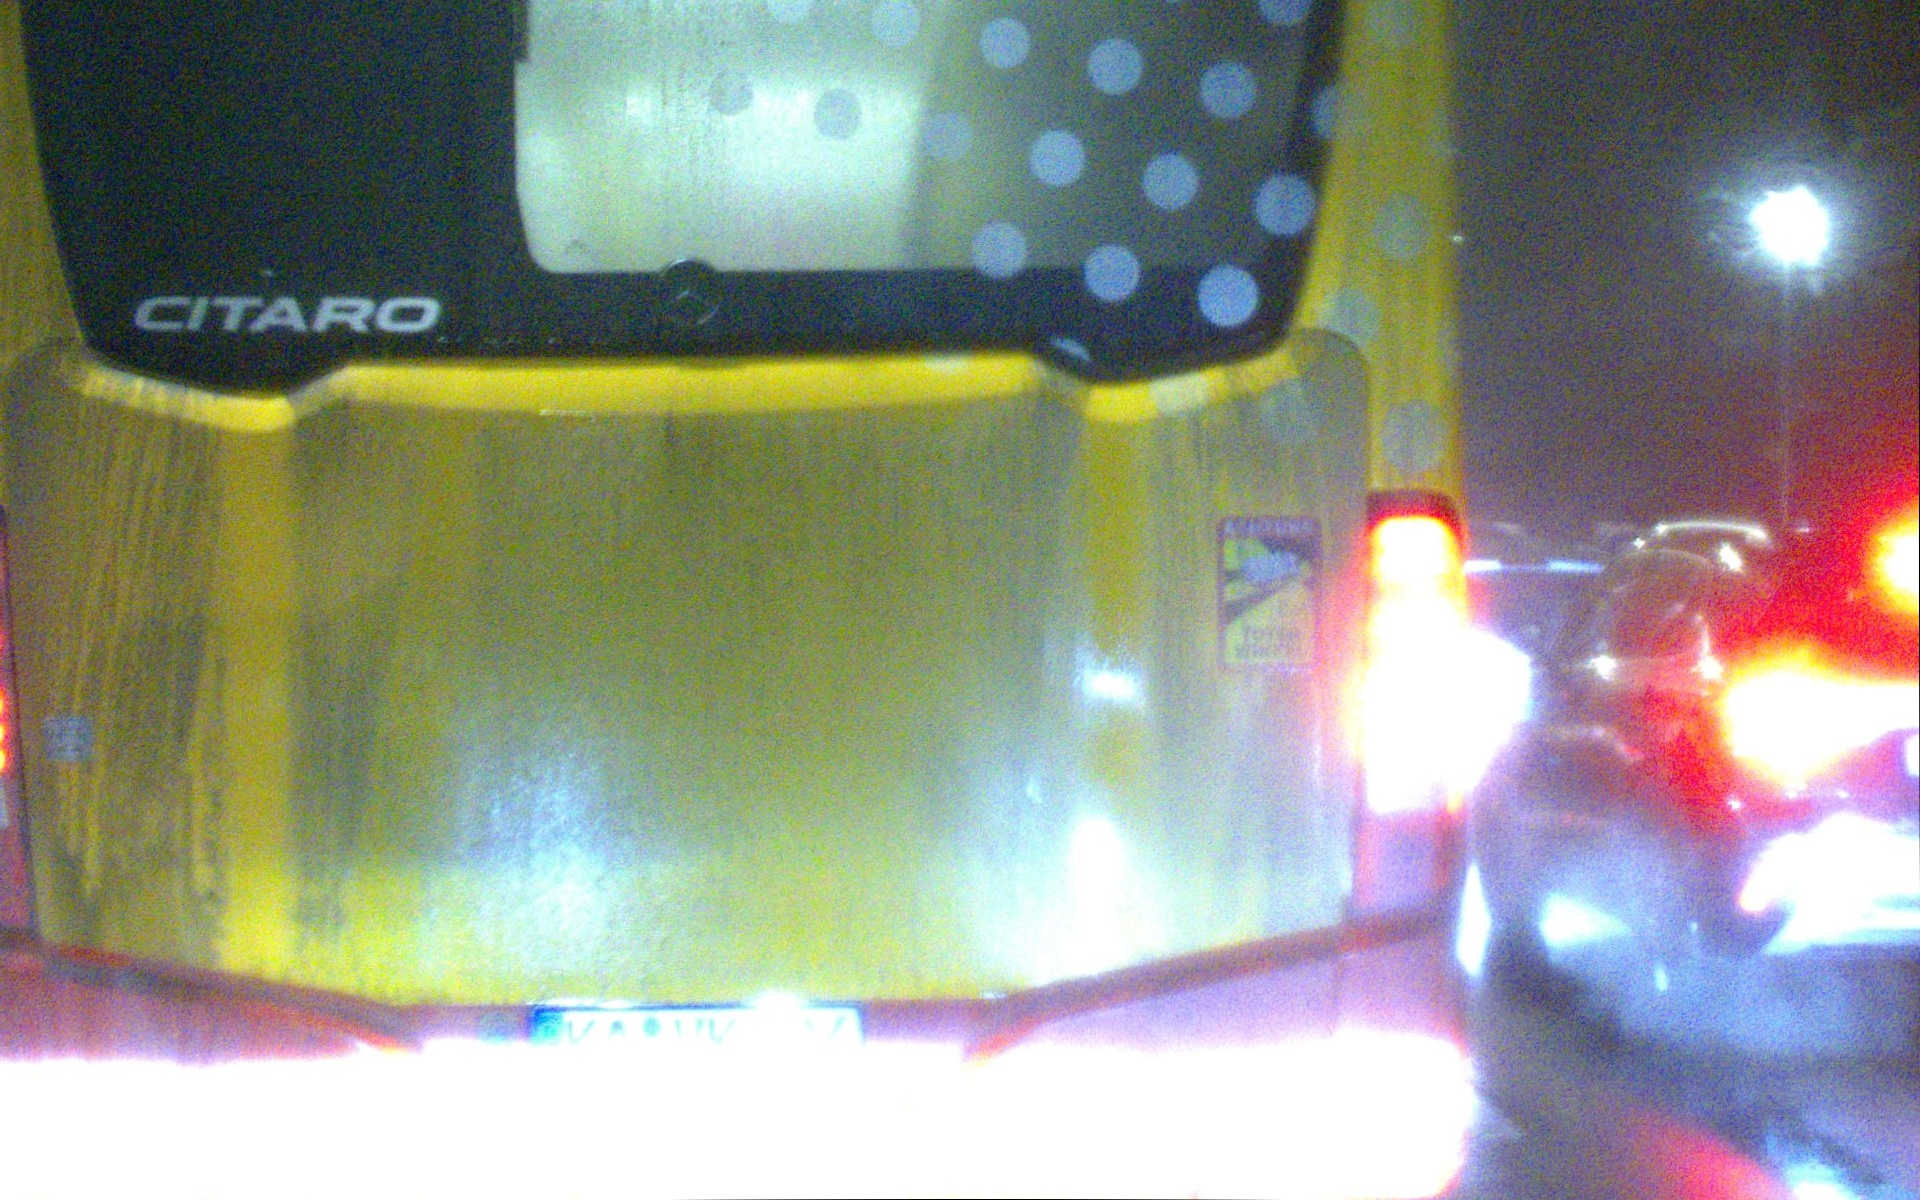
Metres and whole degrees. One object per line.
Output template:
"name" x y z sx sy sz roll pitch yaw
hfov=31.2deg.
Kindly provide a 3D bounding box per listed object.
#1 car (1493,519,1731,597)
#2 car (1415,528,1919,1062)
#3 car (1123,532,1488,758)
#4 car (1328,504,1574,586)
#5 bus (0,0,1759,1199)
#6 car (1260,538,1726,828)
"car" 12.295 -0.803 64.939 4.041 1.341 1.748 1 3 -8
"car" 2.771 0.542 11.796 1.677 1.516 3.961 1 1 -3
"car" 2.325 0.269 24.163 1.993 1.436 4.000 1 1 -2
"car" 9.781 -1.102 68.665 4.482 1.513 1.858 1 3 -8
"bus" -0.634 -0.324 9.855 3.285 3.039 9.546 -1 2 -2
"car" 2.640 0.354 17.885 1.686 1.326 3.961 -1 1 -2
